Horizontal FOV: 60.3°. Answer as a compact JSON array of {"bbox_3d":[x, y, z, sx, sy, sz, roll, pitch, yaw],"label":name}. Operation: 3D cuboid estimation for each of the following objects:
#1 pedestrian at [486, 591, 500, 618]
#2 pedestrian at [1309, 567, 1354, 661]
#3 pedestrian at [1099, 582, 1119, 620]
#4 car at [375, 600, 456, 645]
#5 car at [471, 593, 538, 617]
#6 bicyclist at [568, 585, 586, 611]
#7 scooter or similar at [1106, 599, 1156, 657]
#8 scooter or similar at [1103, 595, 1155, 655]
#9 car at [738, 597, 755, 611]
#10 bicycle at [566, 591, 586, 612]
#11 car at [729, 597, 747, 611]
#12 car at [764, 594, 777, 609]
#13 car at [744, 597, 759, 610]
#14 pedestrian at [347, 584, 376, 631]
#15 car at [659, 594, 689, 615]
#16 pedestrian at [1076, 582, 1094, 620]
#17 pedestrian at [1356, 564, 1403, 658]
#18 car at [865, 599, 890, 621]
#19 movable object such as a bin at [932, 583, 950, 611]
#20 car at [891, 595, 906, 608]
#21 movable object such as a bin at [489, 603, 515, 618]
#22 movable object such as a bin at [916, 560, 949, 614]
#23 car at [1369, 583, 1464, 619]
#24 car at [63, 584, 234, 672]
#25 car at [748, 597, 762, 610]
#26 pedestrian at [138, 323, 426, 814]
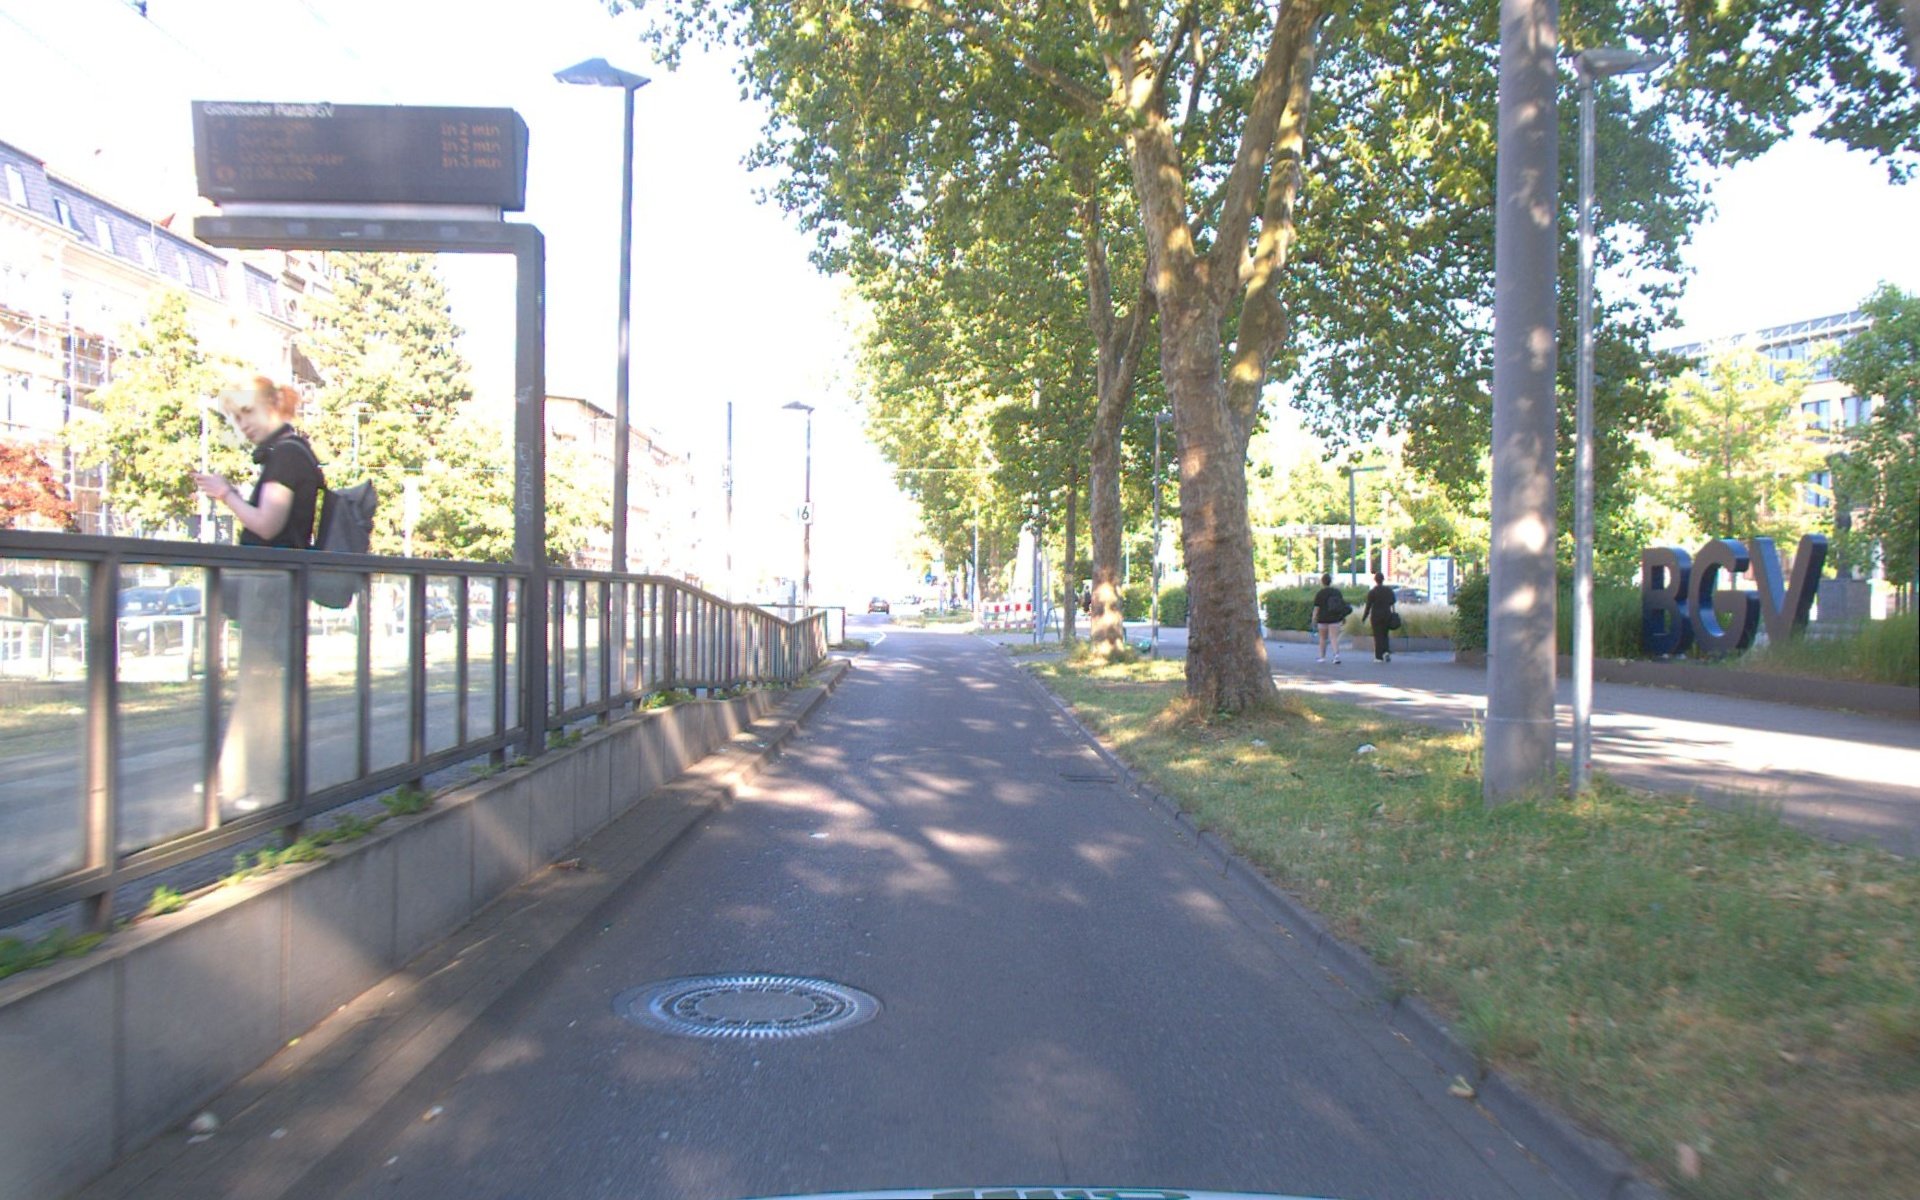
[{"bbox_3d":[-28.393,0.272,100.642,0.606,1.621,0.797,2,0,-3],"label":"pedestrian"},{"bbox_3d":[6.793,0.258,30.240,0.615,1.685,0.739,-1,0,-1],"label":"pedestrian"},{"bbox_3d":[7.202,0.046,79.983,0.789,1.825,1.109,-1,0,-1],"label":"pedestrian"},{"bbox_3d":[-18.928,0.764,57.623,1.574,1.432,3.850,2,0,-1],"label":"car"},{"bbox_3d":[-30.829,0.328,111.879,4.098,1.497,1.997,1,-1,28],"label":"car"},{"bbox_3d":[-22.722,-0.128,98.035,0.759,1.507,1.133,2,0,-2],"label":"bicyclist"},{"bbox_3d":[3.789,0.609,36.808,1.030,1.266,0.841,-1,0,1],"label":"scooter or similar"},{"bbox_3d":[3.661,0.539,35.914,1.030,1.266,0.841,-1,0,1],"label":"scooter or similar"},{"bbox_3d":[-26.617,0.510,206.539,1.706,1.588,3.766,2,1,-2],"label":"car"},{"bbox_3d":[-22.728,0.105,97.904,0.759,1.214,1.755,2,0,-2],"label":"bicycle"},{"bbox_3d":[-27.104,0.481,201.766,1.706,1.588,3.766,2,1,-2],"label":"car"},{"bbox_3d":[-28.251,0.189,246.767,1.625,2.177,3.524,2,1,-2],"label":"car"},{"bbox_3d":[-26.736,0.482,212.080,1.496,1.588,3.222,2,1,-2],"label":"car"},{"bbox_3d":[-25.566,0.321,70.704,0.841,1.961,1.086,-1,0,-3],"label":"pedestrian"},{"bbox_3d":[-26.203,0.401,151.608,1.975,1.784,4.557,2,1,-2],"label":"car"},{"bbox_3d":[6.046,0.057,79.791,0.735,1.825,1.086,-1,0,-1],"label":"pedestrian"},{"bbox_3d":[7.673,0.201,30.286,0.636,1.685,0.783,-1,0,-1],"label":"pedestrian"},{"bbox_3d":[-6.872,0.821,138.191,1.953,1.713,3.999,2,0,-1],"label":"car"},{"bbox_3d":[-2.168,-0.389,188.520,1.928,3.065,4.794,-2,0,-2],"label":"movable object such as a bin"},{"bbox_3d":[-9.627,0.247,259.437,1.956,1.892,3.993,2,0,-8],"label":"car"},{"bbox_3d":[-28.163,0.632,101.702,1.220,0.880,1.236,2,-1,-3],"label":"movable object such as a bin"},{"bbox_3d":[-2.819,-1.250,166.336,3.025,5.177,8.888,-2,0,-2],"label":"movable object such as a bin"},{"bbox_3d":[23.612,0.054,85.615,4.606,1.743,1.836,-1,1,-22],"label":"car"},{"bbox_3d":[-18.488,0.615,37.881,1.826,1.837,4.027,2,0,1],"label":"car"},{"bbox_3d":[-27.054,0.491,218.608,1.496,1.588,3.222,2,1,-2],"label":"car"},{"bbox_3d":[-2.523,-0.111,6.229,0.741,1.719,0.678,2,0,-1],"label":"pedestrian"}]
